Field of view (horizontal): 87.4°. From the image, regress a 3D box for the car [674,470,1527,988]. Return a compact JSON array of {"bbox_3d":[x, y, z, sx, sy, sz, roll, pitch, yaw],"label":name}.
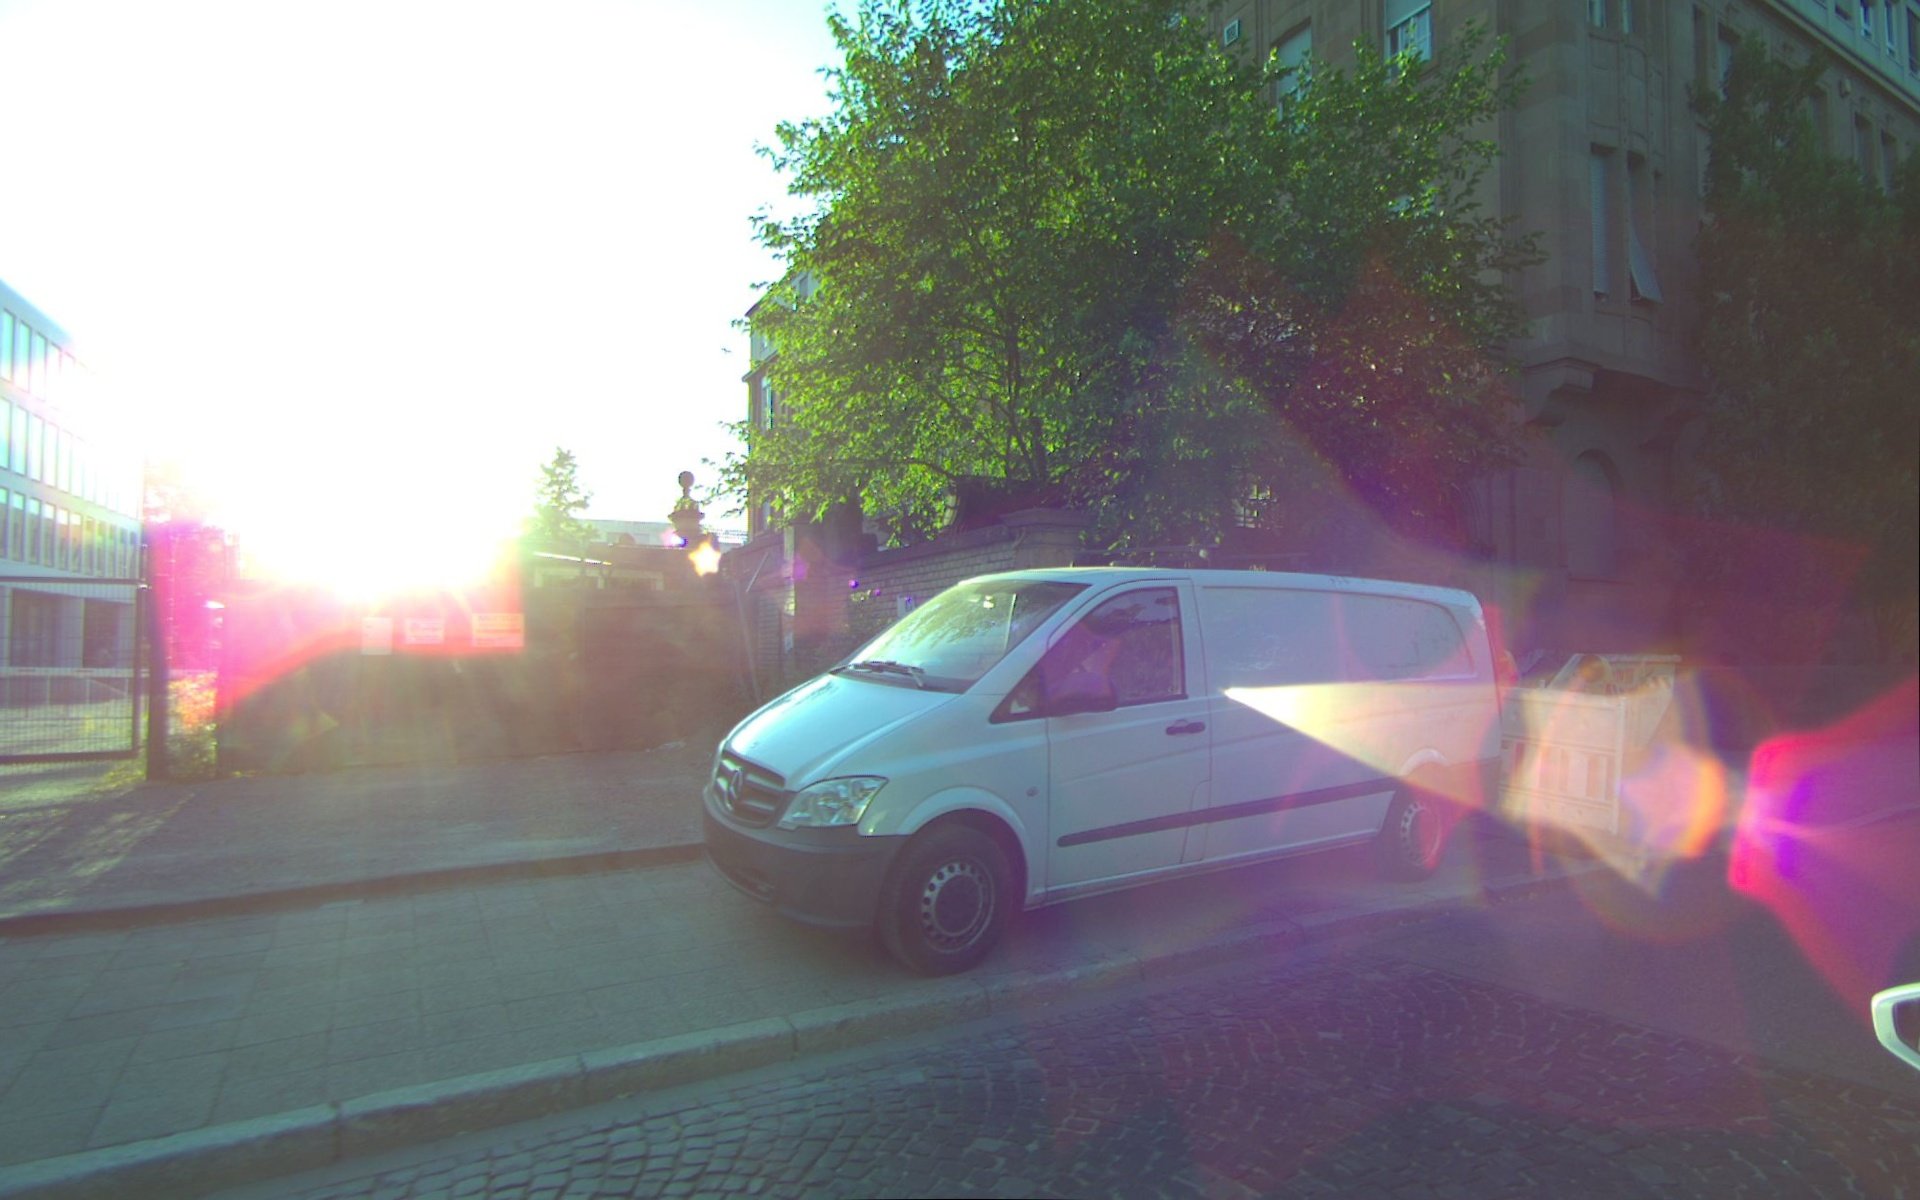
[{"bbox_3d":[1.099,0.639,6.147,5.168,2.040,1.873,2,-4,-32],"label":"car"}]
